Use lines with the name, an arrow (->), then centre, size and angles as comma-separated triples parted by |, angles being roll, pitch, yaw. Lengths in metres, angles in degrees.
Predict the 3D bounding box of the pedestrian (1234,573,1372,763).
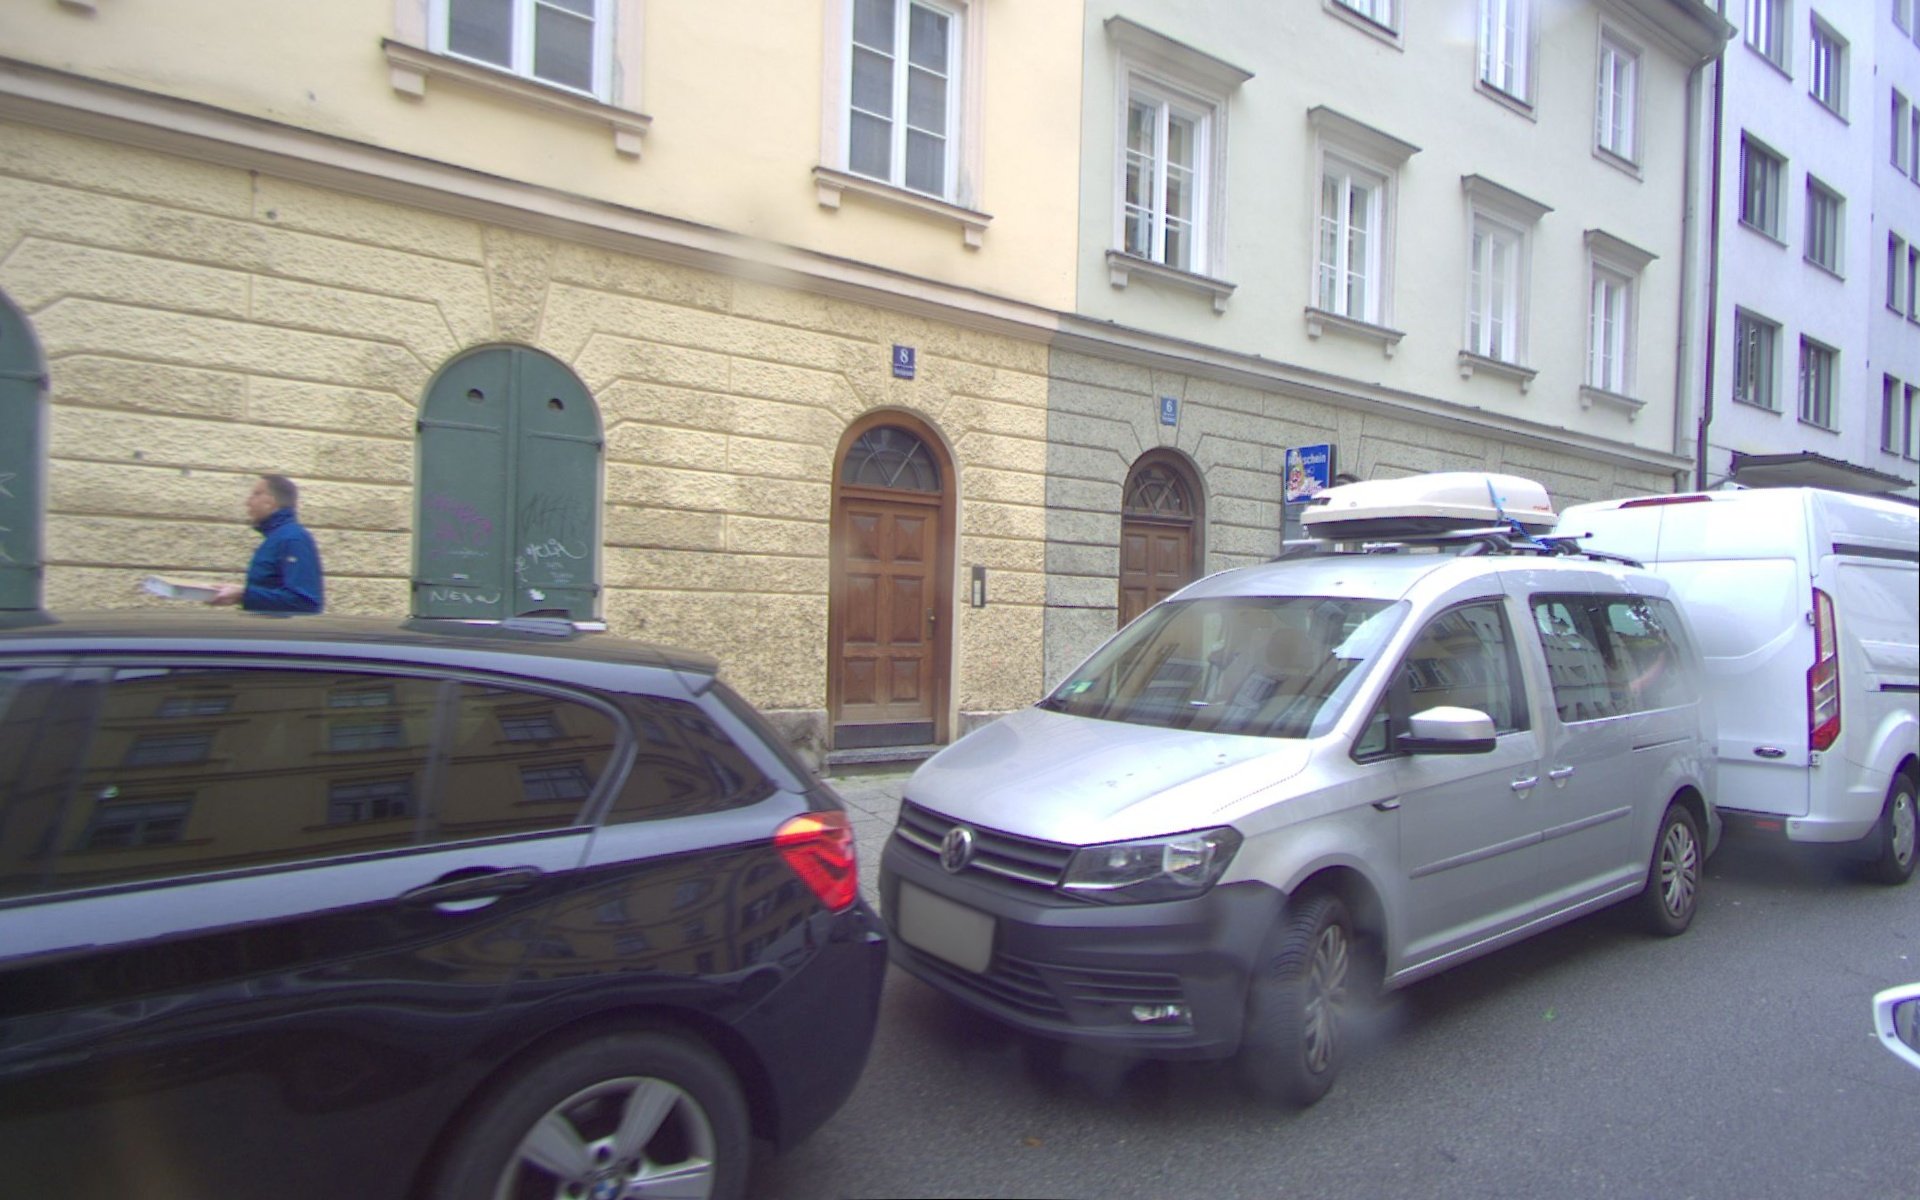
pedestrian -> 3.330, 0.624, 9.763 | 1.009, 1.734, 0.801 | 1, 0, -31

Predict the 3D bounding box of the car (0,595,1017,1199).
car -> -2.127, 0.712, 2.072 | 4.225, 1.420, 1.846 | 1, 0, -34

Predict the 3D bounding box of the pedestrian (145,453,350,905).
pedestrian -> -3.544, 0.362, 5.072 | 0.741, 2.040, 0.801 | 1, 0, -30

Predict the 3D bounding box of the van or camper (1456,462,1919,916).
van or camper -> 6.213, 0.503, 7.472 | 5.418, 2.342, 1.982 | 1, 0, -32

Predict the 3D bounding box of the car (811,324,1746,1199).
car -> 1.768, 0.452, 4.640 | 4.520, 2.231, 1.843 | 1, 0, -38
